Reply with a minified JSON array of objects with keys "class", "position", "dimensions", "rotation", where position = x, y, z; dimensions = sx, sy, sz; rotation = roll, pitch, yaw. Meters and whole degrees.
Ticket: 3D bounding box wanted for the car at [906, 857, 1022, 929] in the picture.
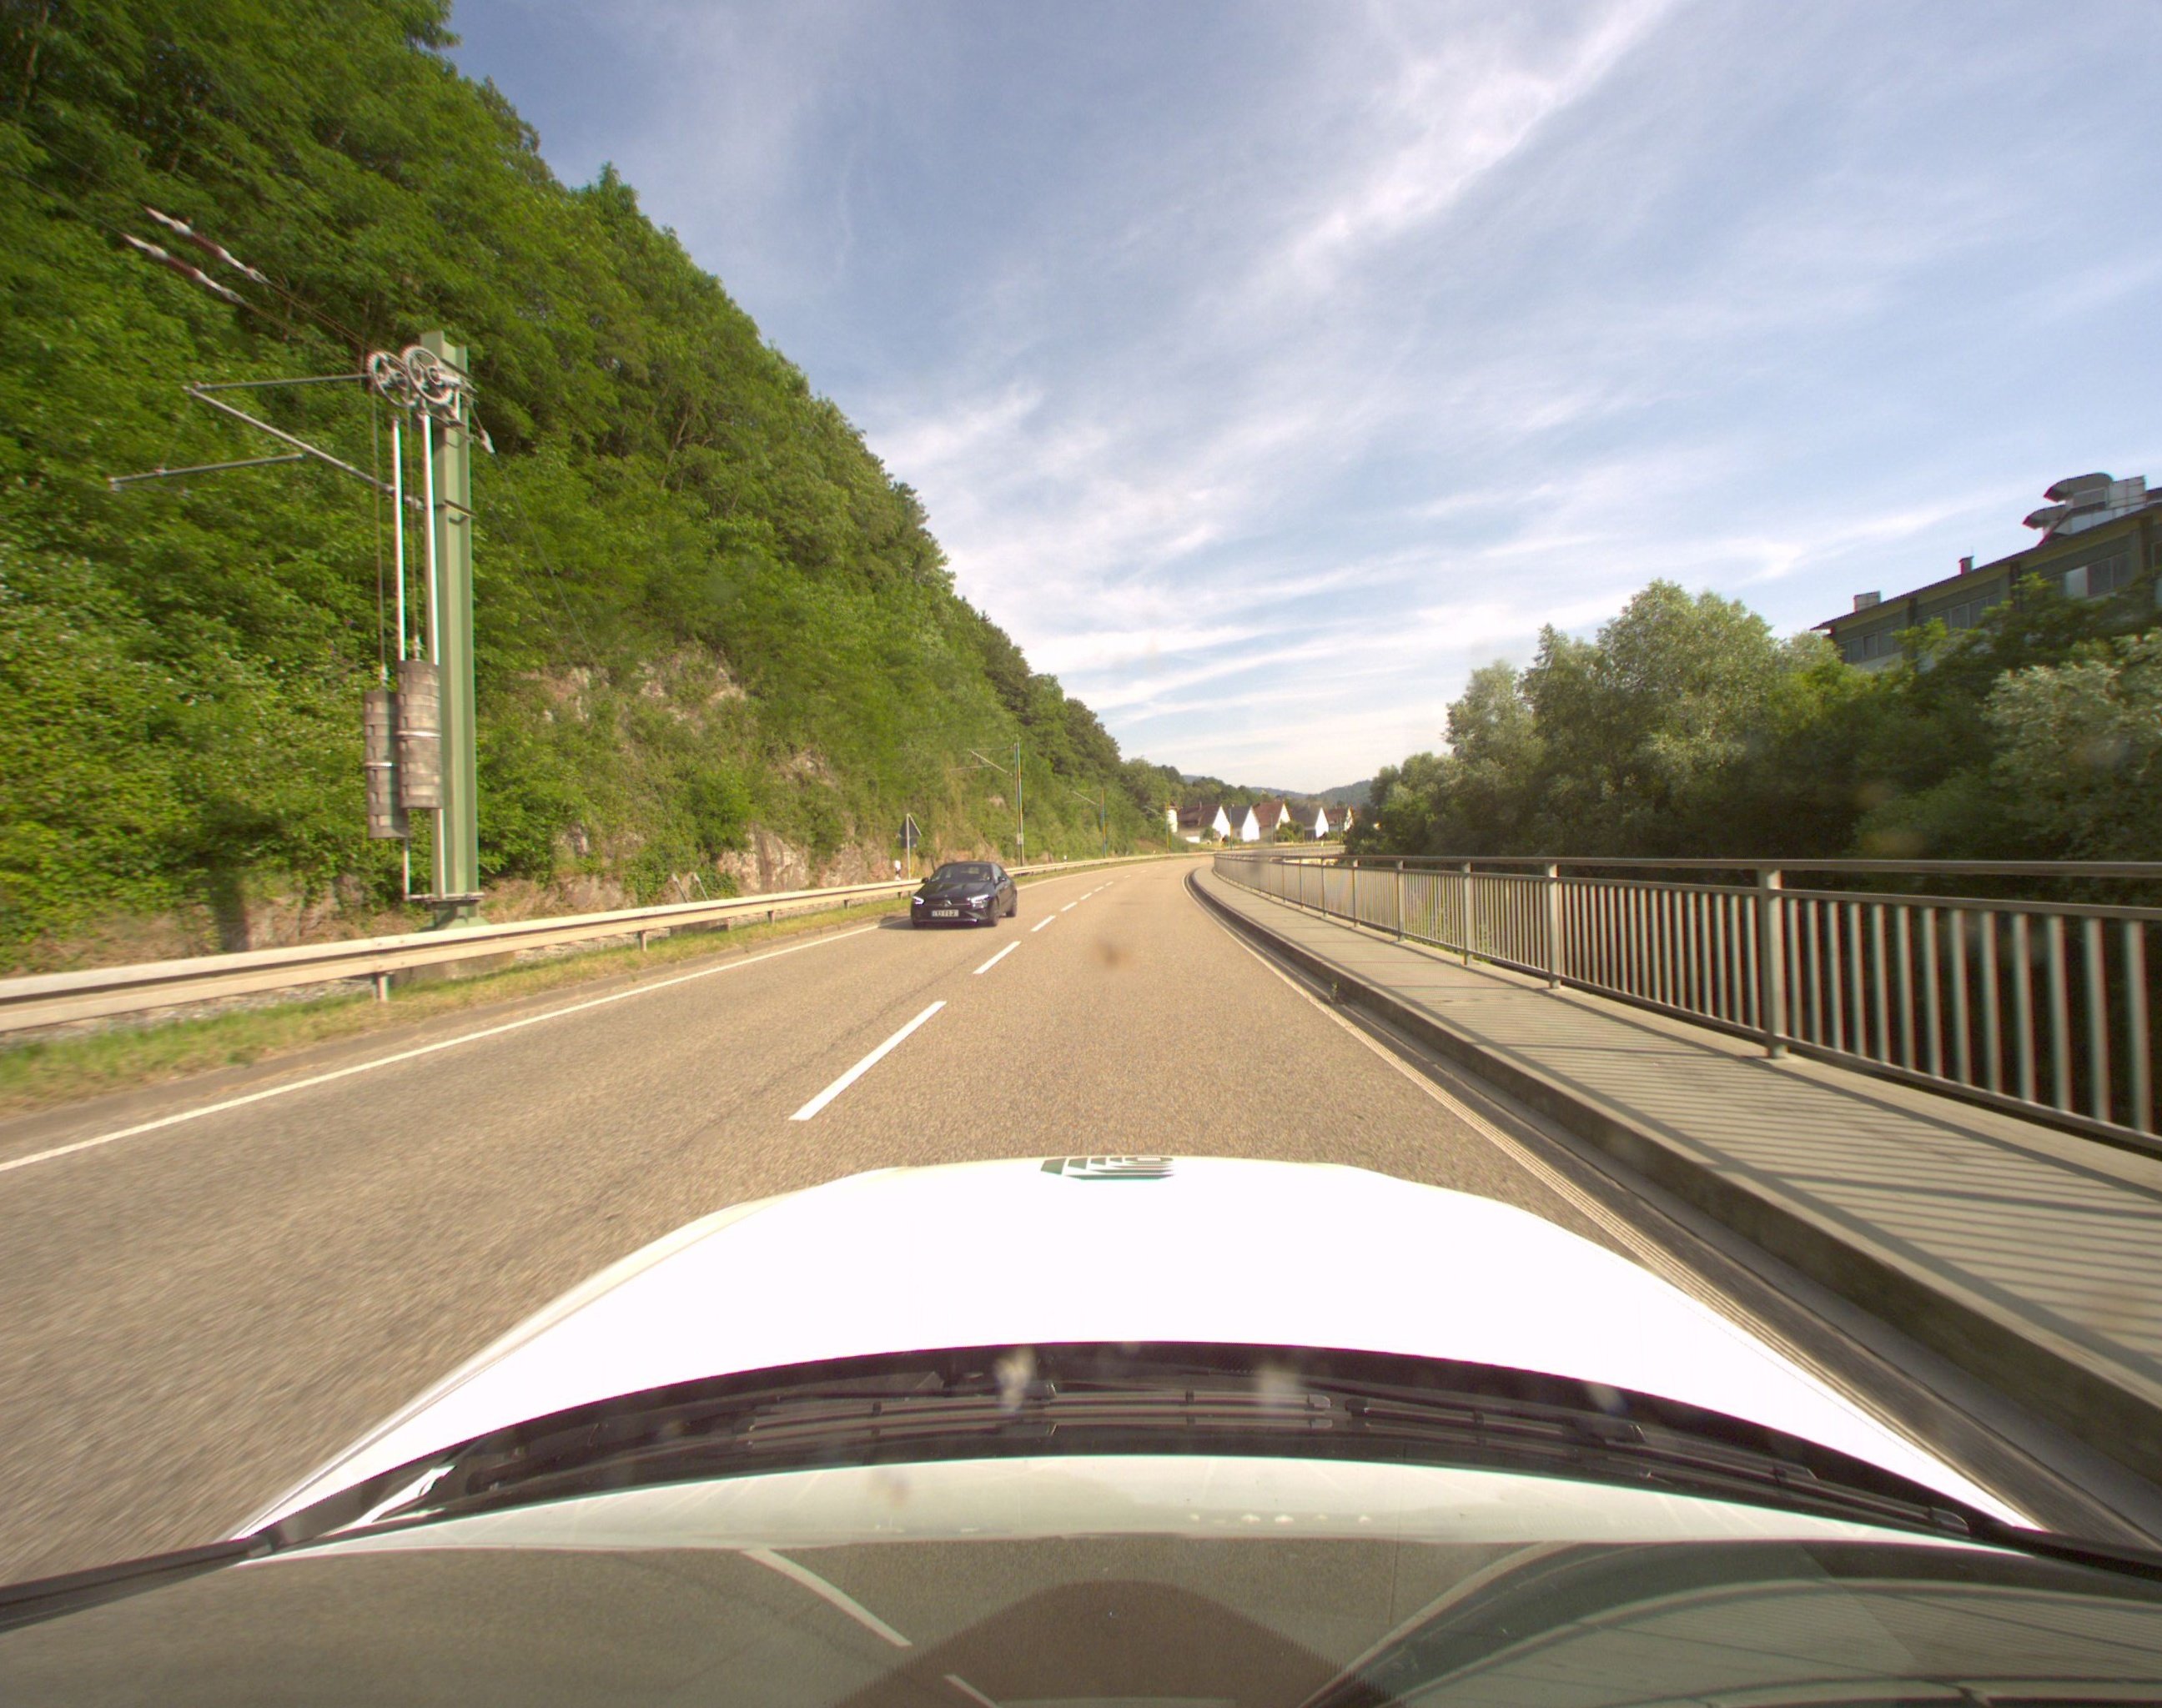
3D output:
[{"class":"car","position":[-2.603,0.822,19.178],"dimensions":[1.840,1.402,4.479],"rotation":[-2,0,2]}]
